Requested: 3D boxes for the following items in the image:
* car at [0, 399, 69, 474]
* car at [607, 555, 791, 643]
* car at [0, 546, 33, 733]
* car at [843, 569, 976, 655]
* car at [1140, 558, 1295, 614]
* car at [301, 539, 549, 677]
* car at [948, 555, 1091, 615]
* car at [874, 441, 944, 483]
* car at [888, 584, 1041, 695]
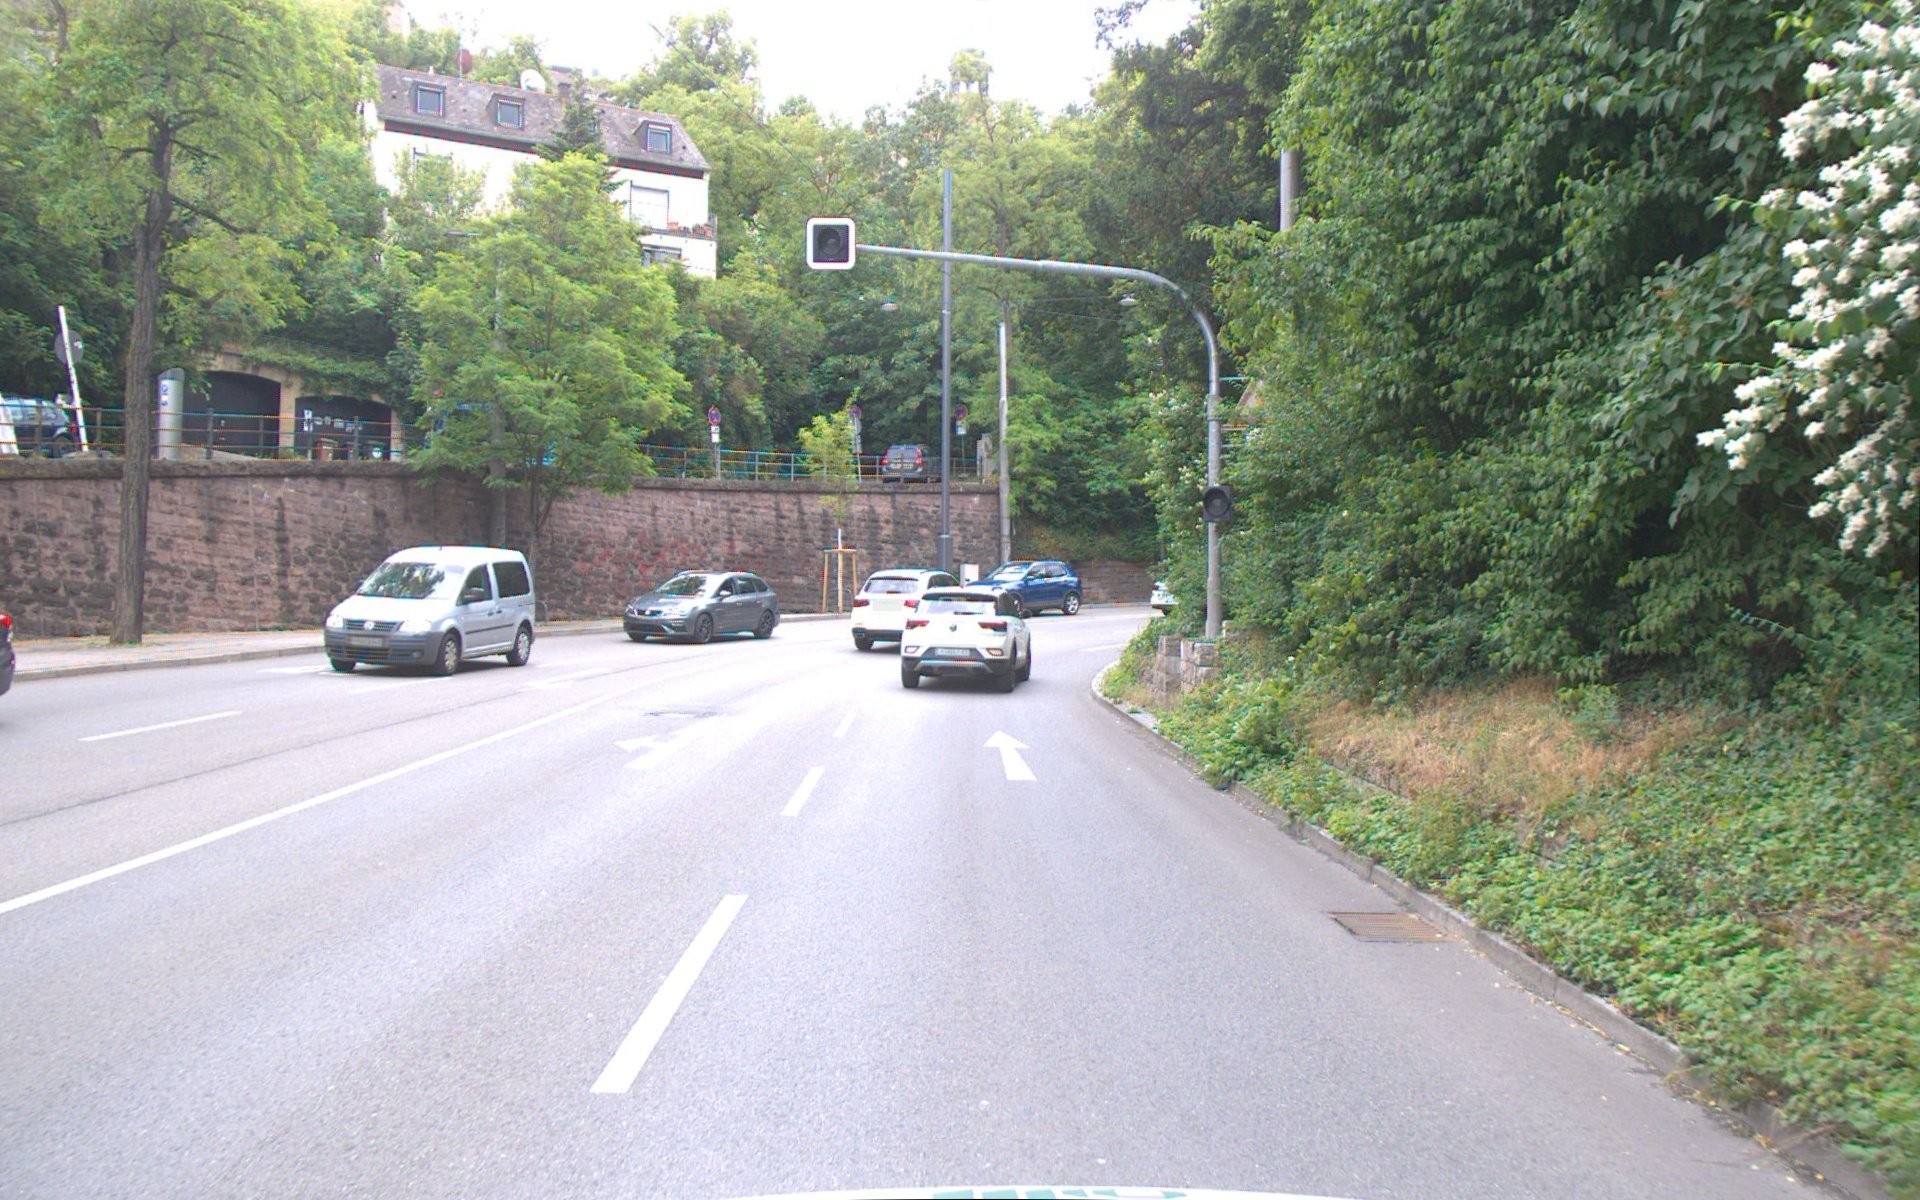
[{"bbox_3d":[-19.770,-3.323,33.038,1.518,1.302,3.602,-2,0,10],"label":"car"},{"bbox_3d":[-5.538,-0.036,35.668,1.906,1.723,4.284,2,1,23],"label":"car"},{"bbox_3d":[-9.460,0.335,12.840,1.952,1.646,4.330,1,0,2],"label":"car"},{"bbox_3d":[-1.001,0.222,35.317,1.837,1.680,4.345,1,1,12],"label":"car"},{"bbox_3d":[7.428,-0.395,47.503,4.271,1.545,2.220,-1,0,-42],"label":"car"},{"bbox_3d":[-7.930,0.110,24.992,1.904,1.830,4.288,2,0,6],"label":"car"},{"bbox_3d":[1.776,-0.442,48.844,3.963,1.713,1.971,-1,0,-40],"label":"car"},{"bbox_3d":[-1.942,-5.282,63.657,1.951,1.511,4.005,0,4,9],"label":"car"},{"bbox_3d":[0.156,0.592,26.673,1.825,1.583,3.898,2,0,9],"label":"car"}]
